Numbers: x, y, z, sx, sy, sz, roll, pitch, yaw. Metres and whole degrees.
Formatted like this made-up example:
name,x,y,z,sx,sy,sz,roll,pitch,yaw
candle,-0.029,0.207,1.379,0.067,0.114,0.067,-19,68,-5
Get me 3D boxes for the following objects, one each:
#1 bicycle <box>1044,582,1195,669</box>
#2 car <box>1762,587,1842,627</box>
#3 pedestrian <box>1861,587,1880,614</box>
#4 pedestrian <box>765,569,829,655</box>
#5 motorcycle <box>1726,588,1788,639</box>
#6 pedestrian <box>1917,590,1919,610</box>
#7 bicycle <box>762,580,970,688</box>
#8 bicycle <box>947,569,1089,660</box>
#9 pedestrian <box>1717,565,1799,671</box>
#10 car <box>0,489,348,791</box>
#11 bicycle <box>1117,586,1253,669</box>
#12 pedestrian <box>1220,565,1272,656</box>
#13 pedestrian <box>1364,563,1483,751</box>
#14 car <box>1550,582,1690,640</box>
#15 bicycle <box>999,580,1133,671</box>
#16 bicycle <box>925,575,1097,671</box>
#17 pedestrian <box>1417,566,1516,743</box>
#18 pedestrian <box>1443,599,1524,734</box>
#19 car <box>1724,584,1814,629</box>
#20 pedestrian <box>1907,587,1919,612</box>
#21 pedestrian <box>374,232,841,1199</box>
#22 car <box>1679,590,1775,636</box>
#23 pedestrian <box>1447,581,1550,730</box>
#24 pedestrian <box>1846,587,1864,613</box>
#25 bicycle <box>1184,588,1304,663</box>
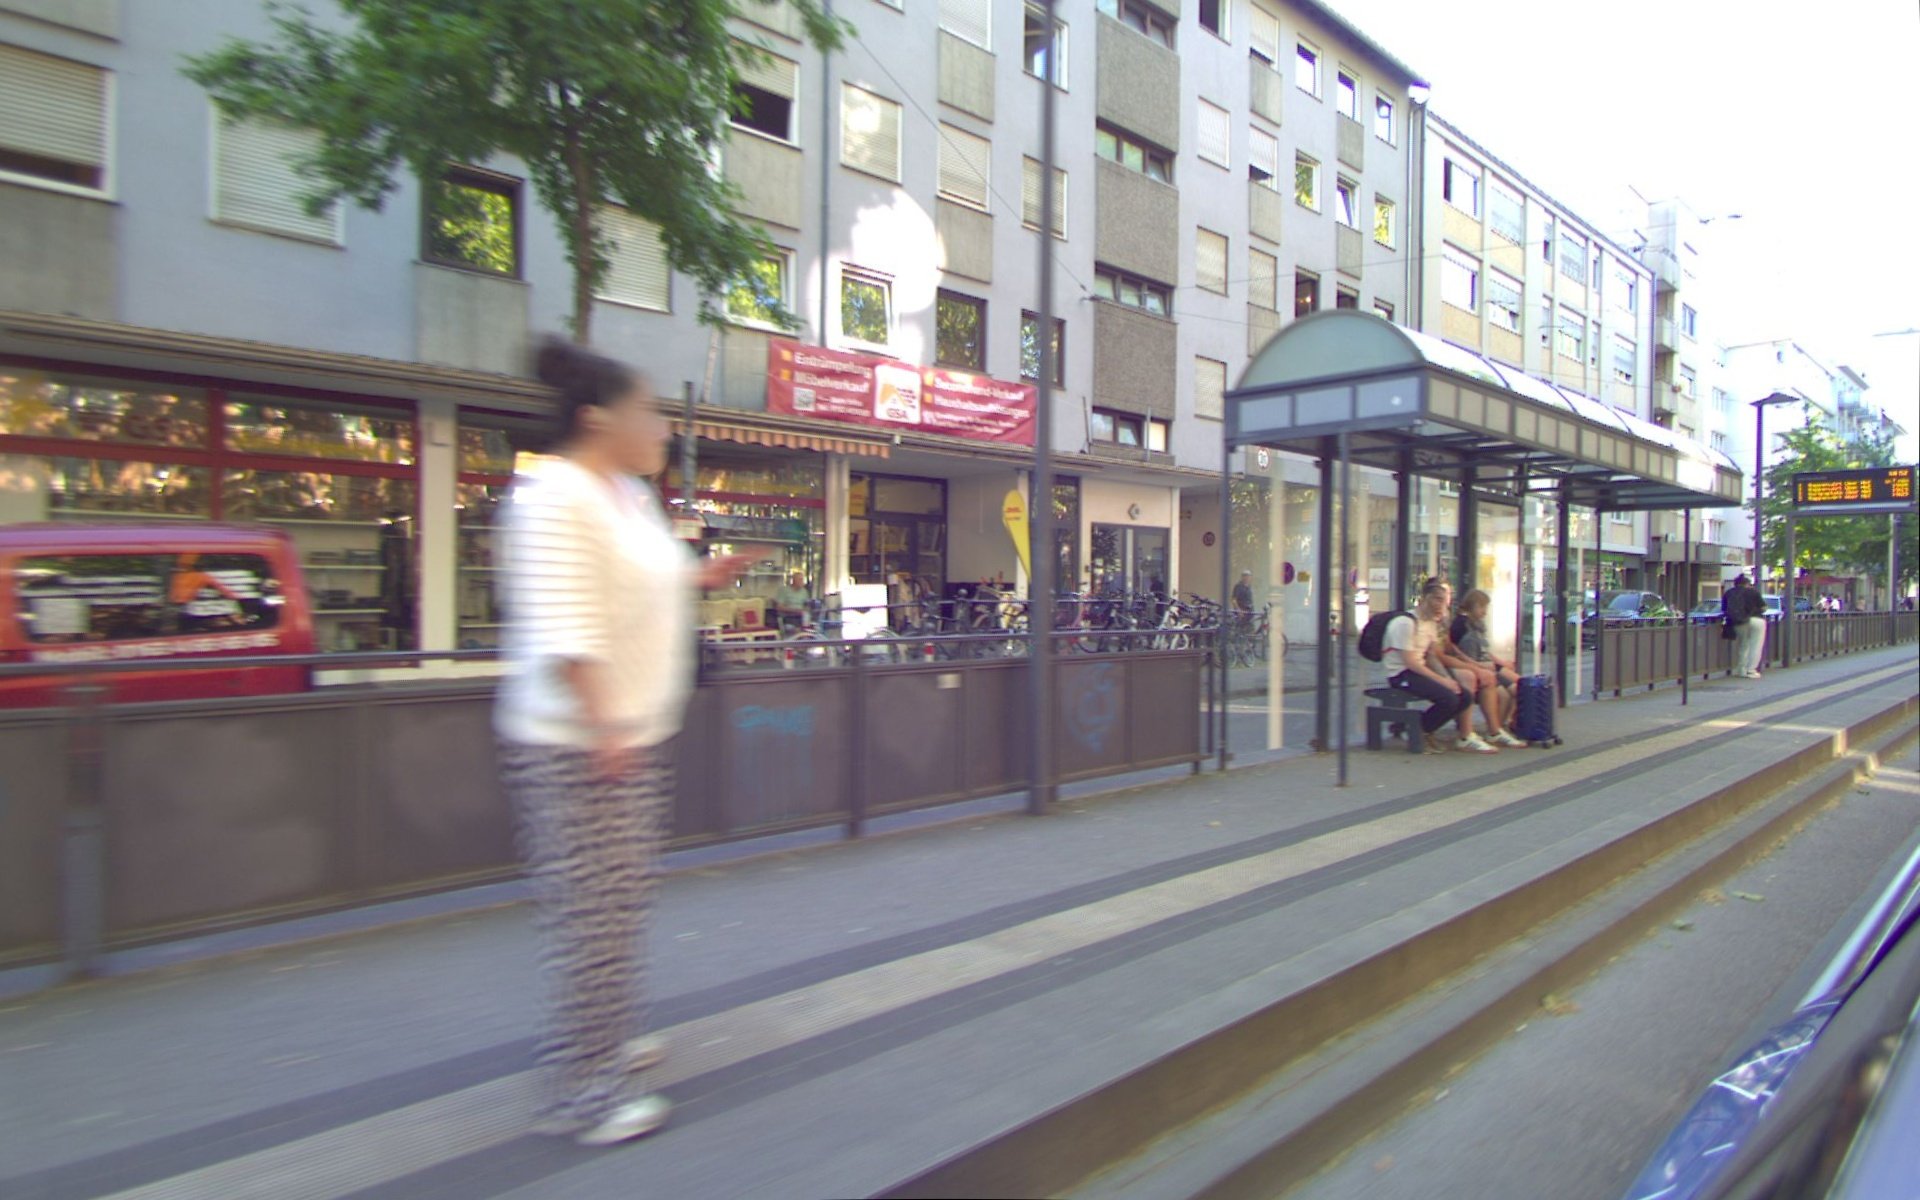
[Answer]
name,x,y,z,sx,sy,sz,roll,pitch,yaw
bicycle,2.541,0.384,15.812,0.772,1.194,2.738,8,5,44
car,35.925,0.271,43.170,3.930,1.612,1.997,-1,0,-41
pedestrian,56.671,0.020,62.993,0.954,1.675,0.751,0,0,-42
pedestrian,-2.368,0.165,14.710,0.677,1.220,0.640,0,0,39
motorcycle,23.843,0.371,30.275,2.170,1.473,1.054,-1,0,-41
pedestrian,82.925,-0.018,87.131,0.822,1.675,0.684,0,0,-42
bicycle,-1.126,0.376,12.879,0.772,1.194,2.738,6,5,45
bicycle,0.945,0.185,15.405,0.769,1.194,2.748,7,4,34
pedestrian,12.318,0.265,15.630,0.836,1.596,0.650,0,0,-23
car,-6.389,0.189,6.375,4.102,1.776,1.691,-1,4,-42
bicycle,3.769,0.438,16.750,0.772,1.194,2.738,8,5,44
pedestrian,5.916,0.206,20.941,0.668,1.827,0.772,-1,1,-38
pedestrian,3.503,0.404,7.656,0.718,1.343,0.486,0,0,39
car,18.543,0.267,28.353,4.576,1.502,1.958,-1,0,-39
bicycle,1.672,0.333,15.392,0.768,1.194,2.750,7,4,33
bicycle,0.791,0.318,14.593,0.772,1.194,2.738,8,5,44
pedestrian,3.973,0.407,7.935,0.583,1.322,0.519,-1,-1,39
pedestrian,4.305,0.526,8.322,0.519,1.069,0.420,0,0,39
car,30.865,0.216,38.587,3.930,1.601,1.997,-1,0,-41
pedestrian,64.412,-0.065,68.193,0.954,1.675,0.751,0,0,-42
pedestrian,-0.717,0.218,2.266,0.631,1.734,0.832,0,0,15
car,26.741,0.400,35.239,3.930,1.505,1.897,-1,0,-41
pedestrian,4.643,0.450,8.724,0.677,1.220,0.640,0,0,39
pedestrian,58.500,-0.013,66.136,0.954,1.675,0.751,0,0,-42
bicycle,5.171,0.440,18.278,0.772,1.194,2.738,8,5,44
